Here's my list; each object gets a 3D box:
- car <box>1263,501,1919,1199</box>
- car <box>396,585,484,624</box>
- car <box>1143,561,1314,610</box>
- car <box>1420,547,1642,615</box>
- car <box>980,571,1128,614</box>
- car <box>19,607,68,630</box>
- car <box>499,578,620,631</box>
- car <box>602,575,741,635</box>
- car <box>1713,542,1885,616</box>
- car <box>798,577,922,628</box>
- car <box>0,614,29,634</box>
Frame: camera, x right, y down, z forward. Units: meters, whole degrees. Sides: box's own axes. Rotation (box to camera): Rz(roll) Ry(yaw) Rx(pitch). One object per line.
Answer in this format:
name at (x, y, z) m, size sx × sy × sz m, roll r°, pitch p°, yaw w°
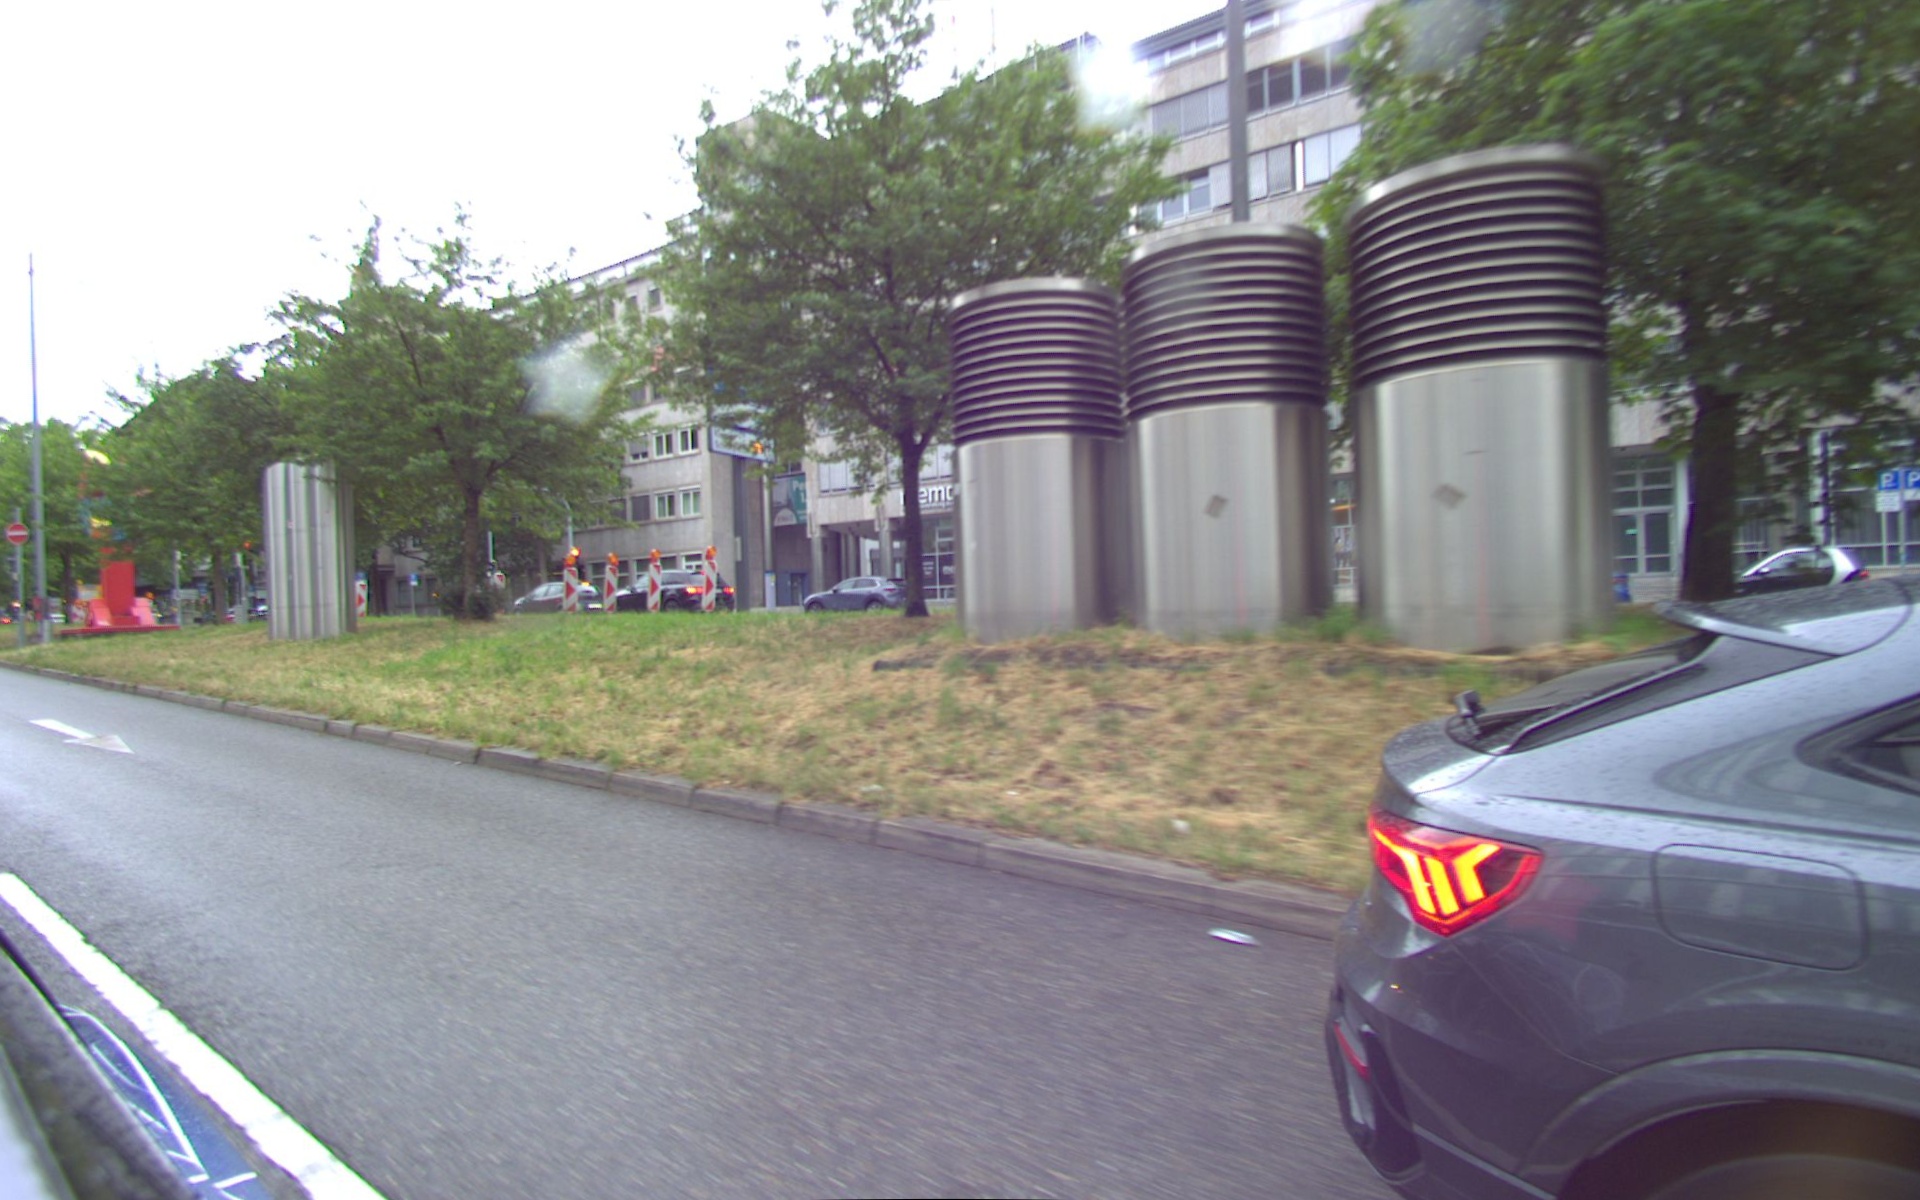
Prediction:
car at (2.802, 0.608, 1.148) m, size 4.338 × 1.529 × 1.843 m, roll -1°, pitch 1°, yaw 38°
car at (-23.226, 0.193, 45.155) m, size 4.101 × 1.592 × 1.858 m, roll -1°, pitch 2°, yaw 38°
car at (7.057, -0.376, 26.774) m, size 4.096 × 1.130 × 1.558 m, roll -1°, pitch 2°, yaw 34°
car at (13.078, -0.421, 23.329) m, size 4.308 × 1.395 × 1.662 m, roll -1°, pitch 2°, yaw 34°
car at (2.754, -0.222, 29.952) m, size 4.096 × 1.130 × 1.558 m, roll -1°, pitch 2°, yaw 34°
car at (-70.315, 1.401, 77.595) m, size 4.101 × 1.599 × 2.048 m, roll -1°, pitch 2°, yaw 38°
car at (-13.347, 0.147, 33.641) m, size 4.101 × 1.592 × 1.858 m, roll -1°, pitch 2°, yaw 38°
car at (-8.602, 0.138, 30.072) m, size 4.101 × 1.592 × 1.858 m, roll -1°, pitch 2°, yaw 38°
car at (16.928, -0.420, 20.550) m, size 2.623 × 1.395 × 1.229 m, roll -1°, pitch 2°, yaw 37°
car at (-3.444, 0.100, 34.426) m, size 4.096 × 1.592 × 1.558 m, roll -1°, pitch 2°, yaw 34°
car at (-85.860, 2.150, 91.284) m, size 4.101 × 1.599 × 2.048 m, roll -1°, pitch 2°, yaw 38°
